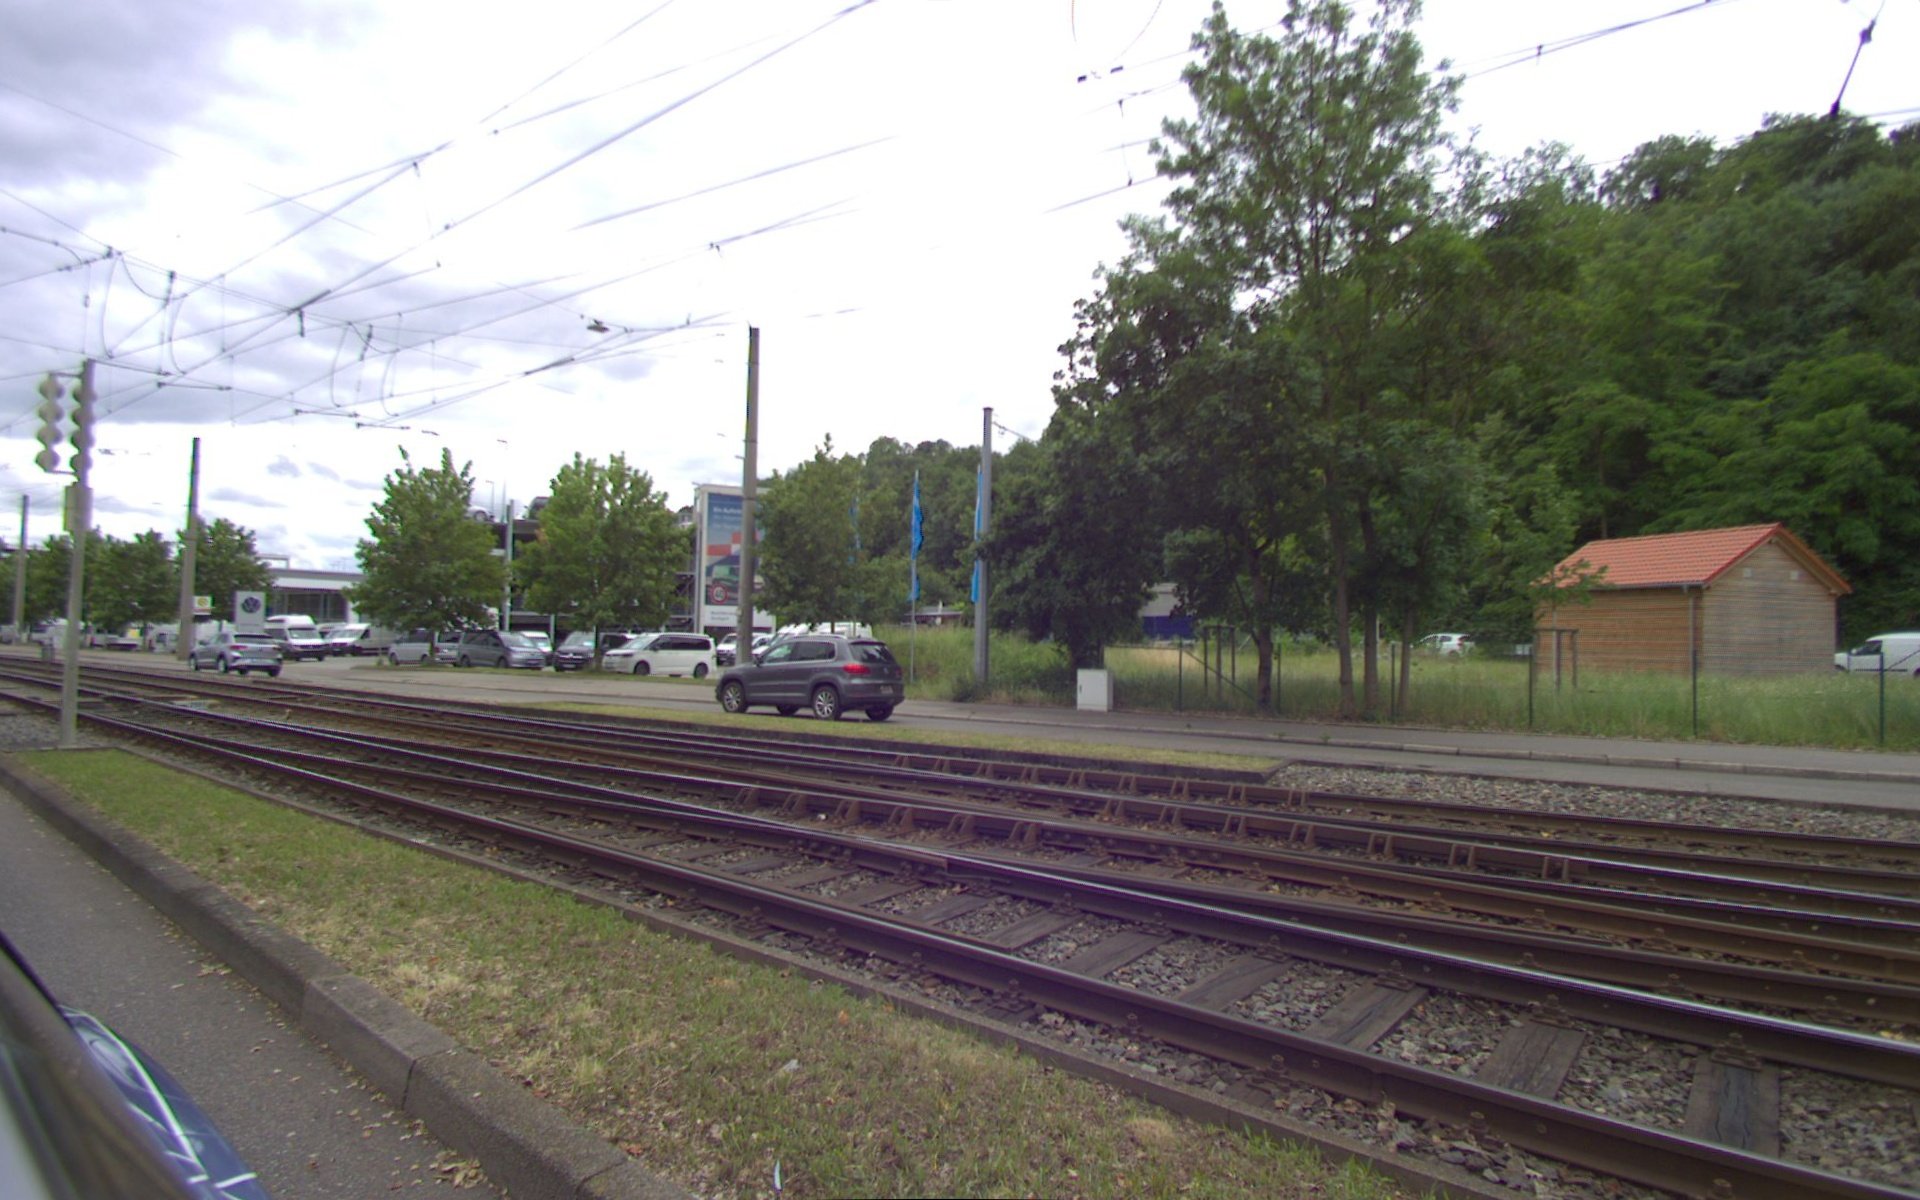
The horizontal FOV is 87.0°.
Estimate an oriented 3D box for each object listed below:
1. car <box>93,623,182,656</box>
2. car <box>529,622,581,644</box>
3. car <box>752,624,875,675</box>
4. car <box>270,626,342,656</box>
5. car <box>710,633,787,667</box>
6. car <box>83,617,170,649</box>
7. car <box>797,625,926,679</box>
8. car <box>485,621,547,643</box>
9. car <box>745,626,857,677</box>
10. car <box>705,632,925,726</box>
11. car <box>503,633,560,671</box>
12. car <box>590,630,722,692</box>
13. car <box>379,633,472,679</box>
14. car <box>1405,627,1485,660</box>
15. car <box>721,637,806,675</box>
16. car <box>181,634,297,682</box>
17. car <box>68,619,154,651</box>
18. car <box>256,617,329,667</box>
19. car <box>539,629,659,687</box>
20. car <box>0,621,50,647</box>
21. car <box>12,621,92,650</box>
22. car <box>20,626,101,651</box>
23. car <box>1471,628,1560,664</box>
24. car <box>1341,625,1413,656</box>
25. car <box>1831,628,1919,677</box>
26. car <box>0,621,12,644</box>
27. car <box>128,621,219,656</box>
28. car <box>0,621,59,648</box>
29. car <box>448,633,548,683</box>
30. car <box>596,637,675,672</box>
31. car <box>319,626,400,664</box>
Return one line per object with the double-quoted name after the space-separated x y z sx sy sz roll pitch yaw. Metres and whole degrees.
-59.509 2.824 73.277 2.102 2.225 4.589 -1 0 32 "car"
-36.846 2.966 92.088 4.164 1.850 1.986 -1 0 -29 "car"
-7.367 2.456 51.071 5.751 2.284 2.060 -1 0 -28 "car"
-53.671 3.326 83.110 2.107 2.225 4.579 -1 0 39 "car"
-12.988 3.049 62.210 4.165 1.850 1.986 -1 0 -31 "car"
-61.491 2.398 74.726 2.102 2.225 4.589 -1 0 32 "car"
-4.703 2.421 48.358 5.762 2.284 2.060 -1 0 -28 "car"
-41.823 2.982 95.369 5.138 1.850 1.986 -1 0 -29 "car"
-8.507 2.723 54.370 5.568 2.479 1.986 -1 0 -31 "car"
-2.952 1.560 20.483 4.122 1.731 1.886 -1 -5 31 "car"
-24.521 2.936 57.803 1.872 1.907 4.606 -1 0 -38 "car"
-12.843 2.530 43.101 1.997 2.284 5.206 -1 0 37 "car"
-27.054 2.770 51.194 4.761 2.132 2.119 -1 0 32 "car"
26.479 2.327 55.384 1.727 1.625 3.693 -1 0 -25 "car"
-10.923 3.069 56.248 4.165 1.850 1.986 -1 0 -31 "car"
-25.662 2.025 35.996 4.166 1.590 1.977 -1 -3 34 "car"
-63.869 2.627 76.209 2.102 2.225 4.589 -1 0 32 "car"
-43.187 2.667 65.400 6.154 3.034 2.291 -1 0 40 "car"
-16.004 2.495 45.044 1.977 2.284 4.717 -1 0 37 "car"
-85.634 3.083 91.499 2.102 2.225 4.589 -1 0 32 "car"
-75.558 2.953 84.237 2.102 2.225 4.589 -1 0 32 "car"
-73.596 3.113 82.833 2.102 1.854 4.589 -1 0 32 "car"
28.175 2.305 51.429 1.727 1.625 3.693 -1 0 -22 "car"
24.467 2.352 59.455 1.727 1.625 3.693 -1 0 -25 "car"
34.180 1.872 36.528 1.877 1.625 3.693 -1 0 -22 "car"
-94.090 3.193 96.837 2.102 2.225 4.589 -1 0 32 "car"
-54.969 2.666 70.786 2.102 2.225 4.589 -1 0 32 "car"
-83.611 3.057 90.124 2.102 2.225 4.589 -1 0 32 "car"
-21.810 2.695 47.751 4.763 2.132 2.118 -1 0 34 "car"
-19.433 3.215 60.608 4.165 1.850 1.986 -1 0 -31 "car"
-46.484 3.441 78.508 2.293 2.642 6.036 -1 0 6 "car"
